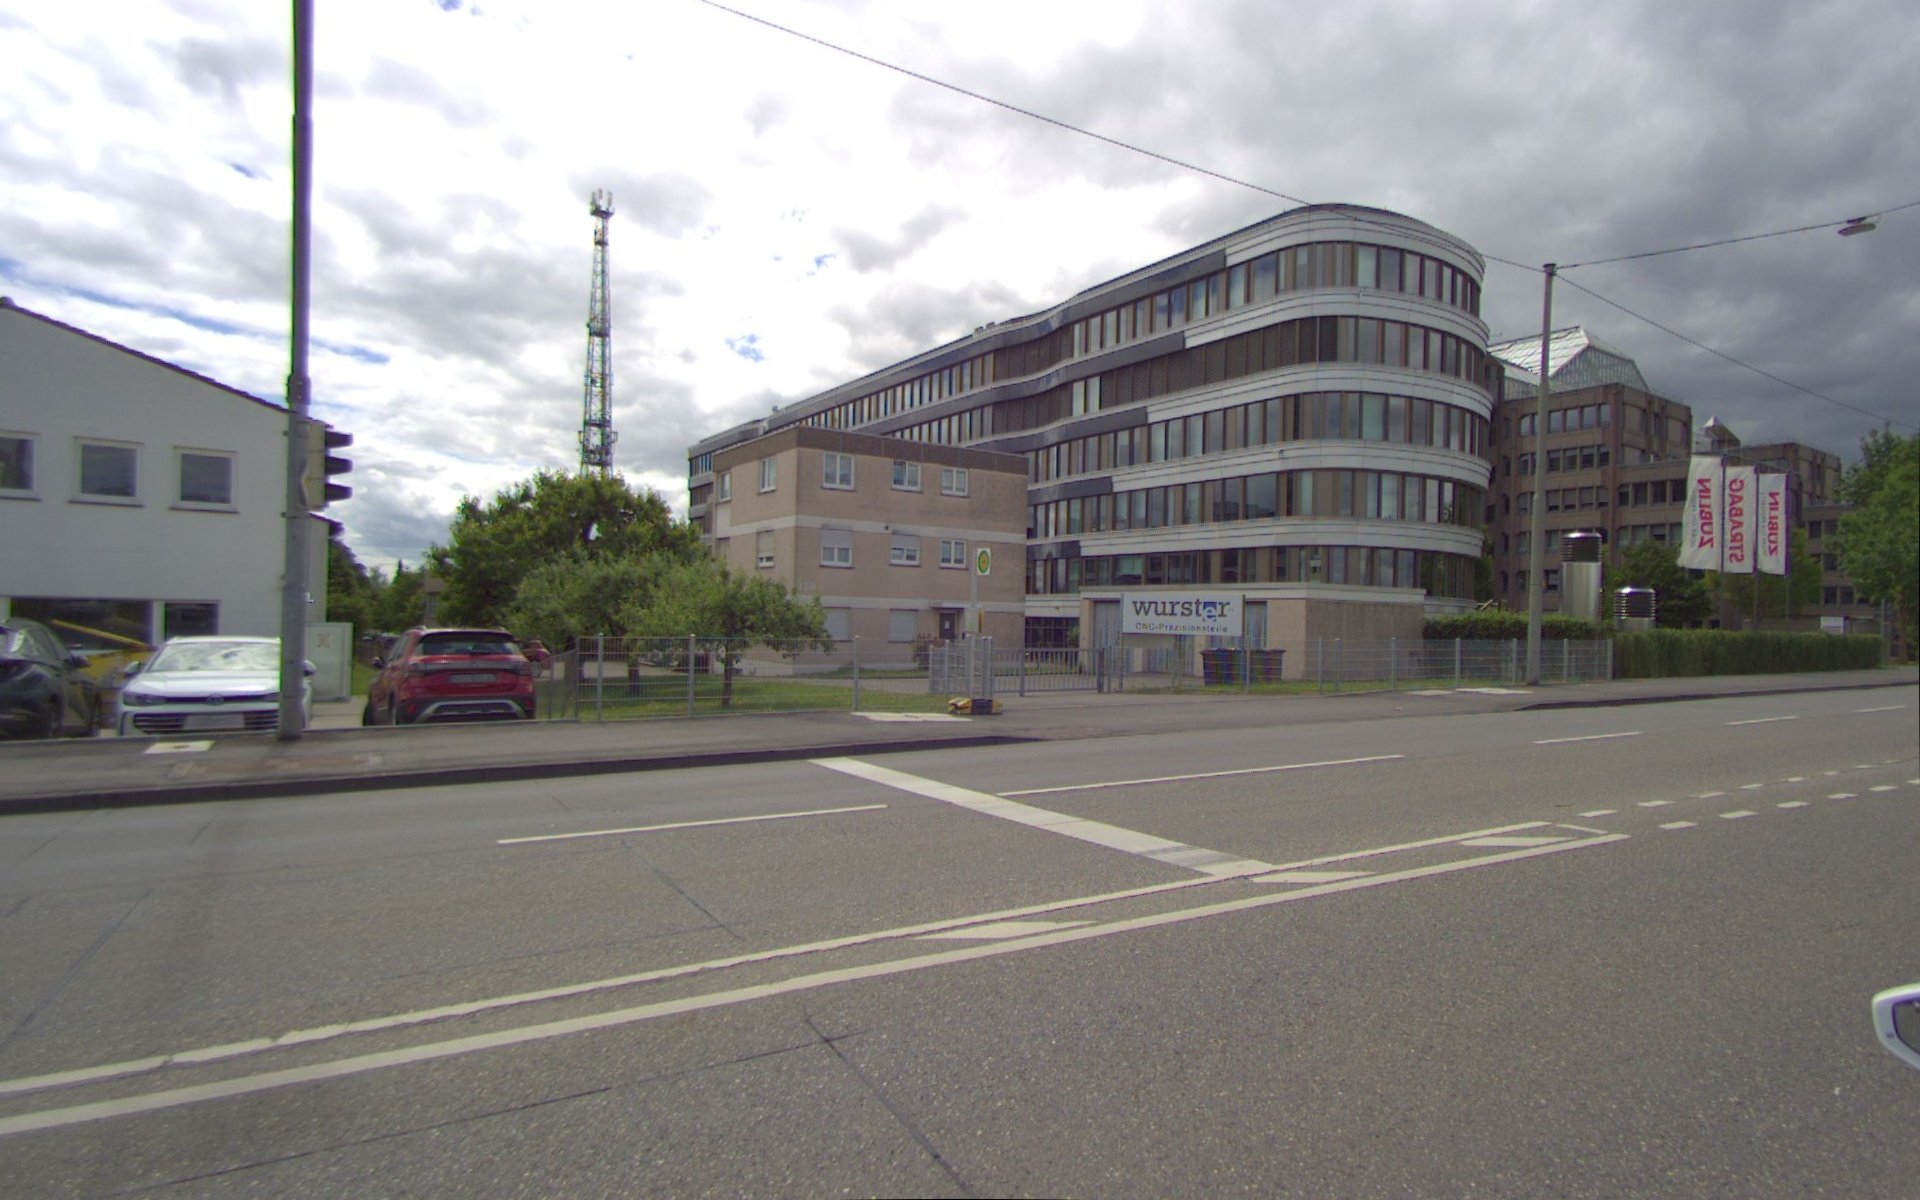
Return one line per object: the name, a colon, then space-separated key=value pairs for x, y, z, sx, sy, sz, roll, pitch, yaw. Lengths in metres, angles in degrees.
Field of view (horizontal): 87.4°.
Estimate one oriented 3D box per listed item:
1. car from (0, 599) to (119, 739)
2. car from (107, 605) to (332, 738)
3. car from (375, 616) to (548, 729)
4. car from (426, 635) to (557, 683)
car: x=-11.452 y=0.892 z=11.789 sx=1.835 sy=1.442 sz=3.968 roll=2 pitch=-7 yaw=-32
car: x=-9.379 y=0.998 z=12.861 sx=1.965 sy=1.404 sz=4.197 roll=3 pitch=-7 yaw=-36
car: x=-7.313 y=1.128 z=14.554 sx=1.828 sy=1.387 sz=3.968 roll=2 pitch=-7 yaw=-32
car: x=-17.599 y=2.204 z=37.787 sx=4.137 sy=1.564 sz=1.829 roll=3 pitch=1 yaw=-38
